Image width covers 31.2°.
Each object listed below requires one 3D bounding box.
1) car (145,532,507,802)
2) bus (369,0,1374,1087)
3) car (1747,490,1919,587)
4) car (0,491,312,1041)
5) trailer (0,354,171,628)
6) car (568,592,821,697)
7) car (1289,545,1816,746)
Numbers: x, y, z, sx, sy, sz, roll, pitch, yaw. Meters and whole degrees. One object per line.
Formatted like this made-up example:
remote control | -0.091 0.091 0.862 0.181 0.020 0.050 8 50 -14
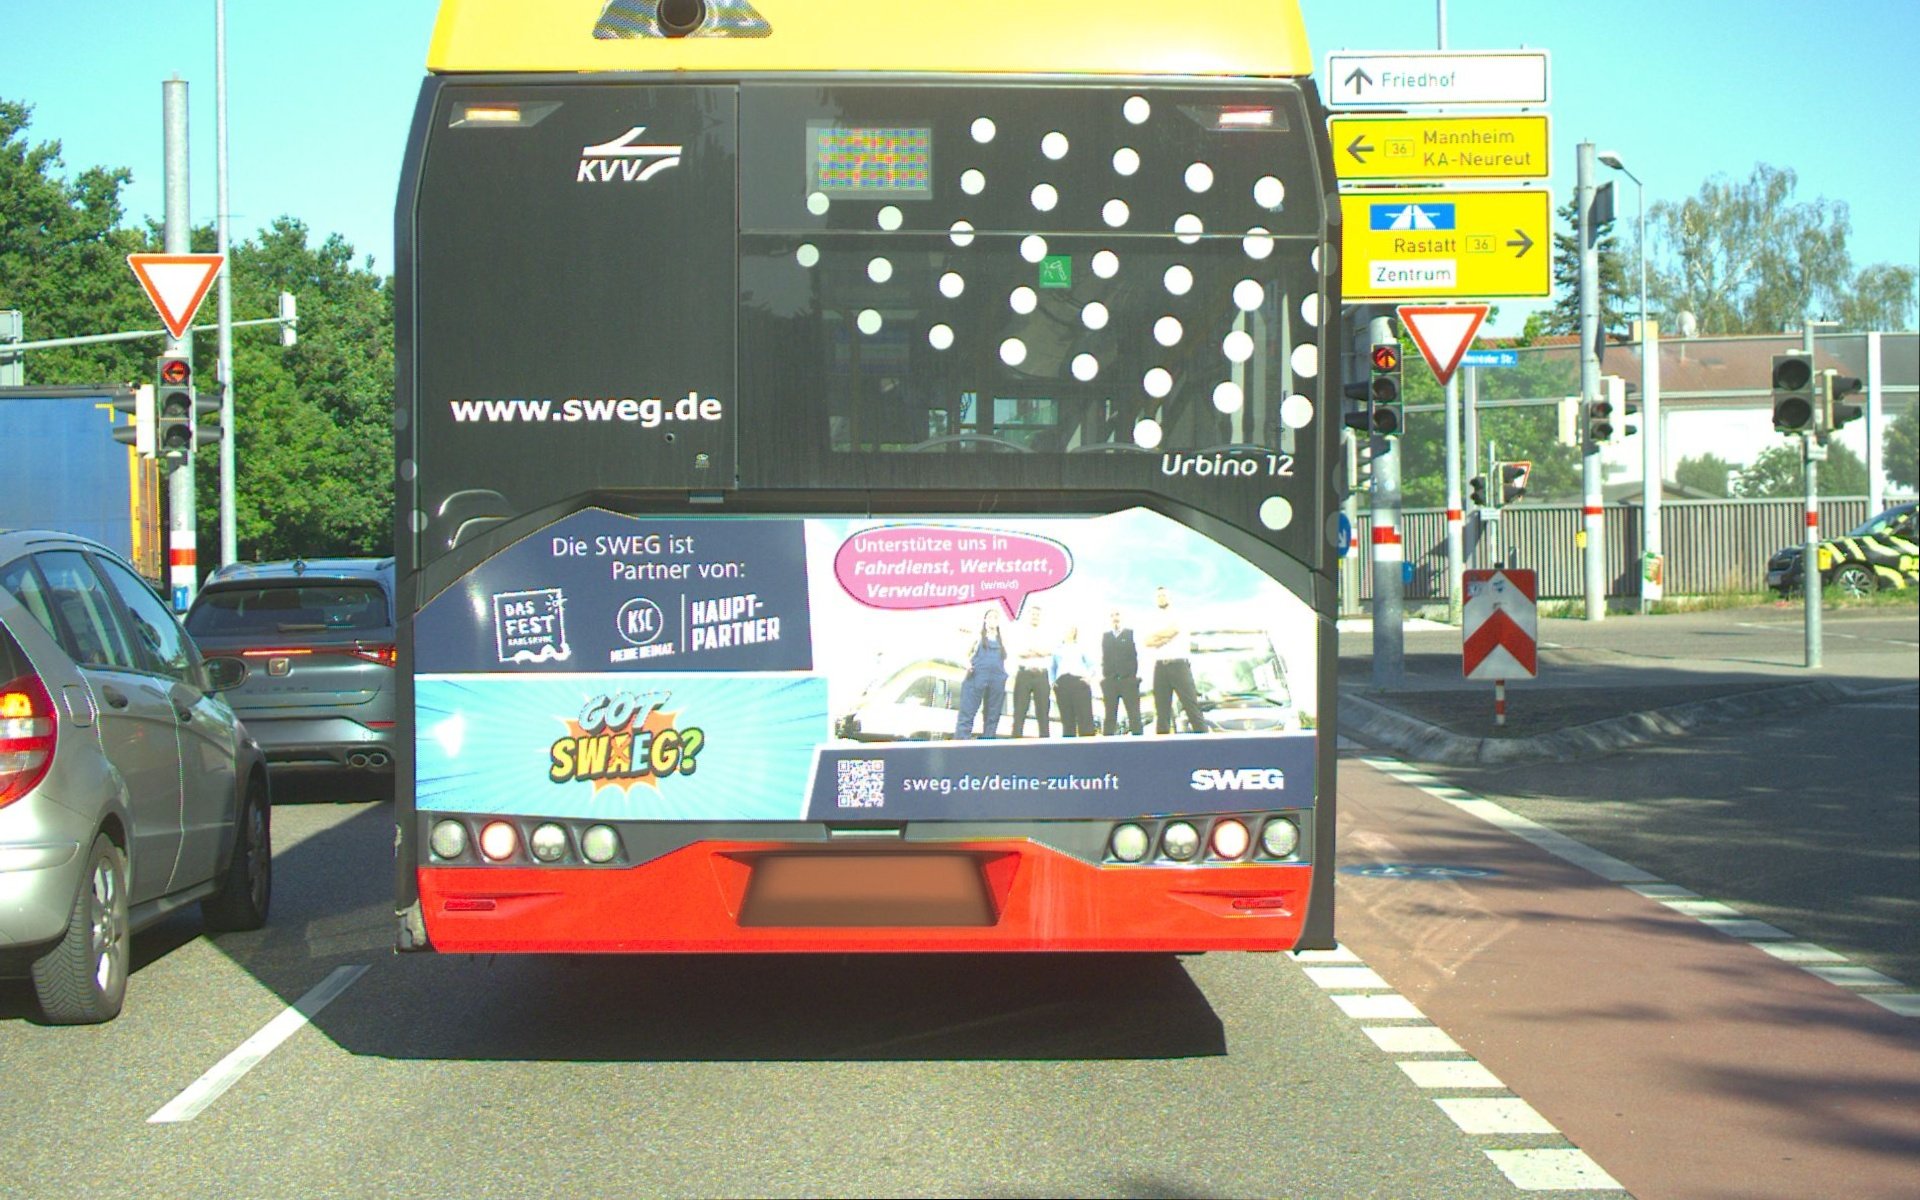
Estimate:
car | -3.774 0.367 20.995 1.588 1.480 3.682 -1 0 -1
bus | -0.300 -0.504 14.944 2.596 3.323 11.984 0 1 -1
car | 13.232 -0.836 47.842 4.159 1.298 1.575 0 0 -3
car | -3.564 0.440 12.230 1.754 1.614 4.034 -1 2 0
trailer | -18.407 -1.573 51.236 12.731 4.016 2.471 -1 1 -7
car | -4.289 0.702 55.405 3.986 1.606 1.696 -1 1 -6
car | 4.130 0.290 24.200 3.523 1.297 1.574 1 2 8
